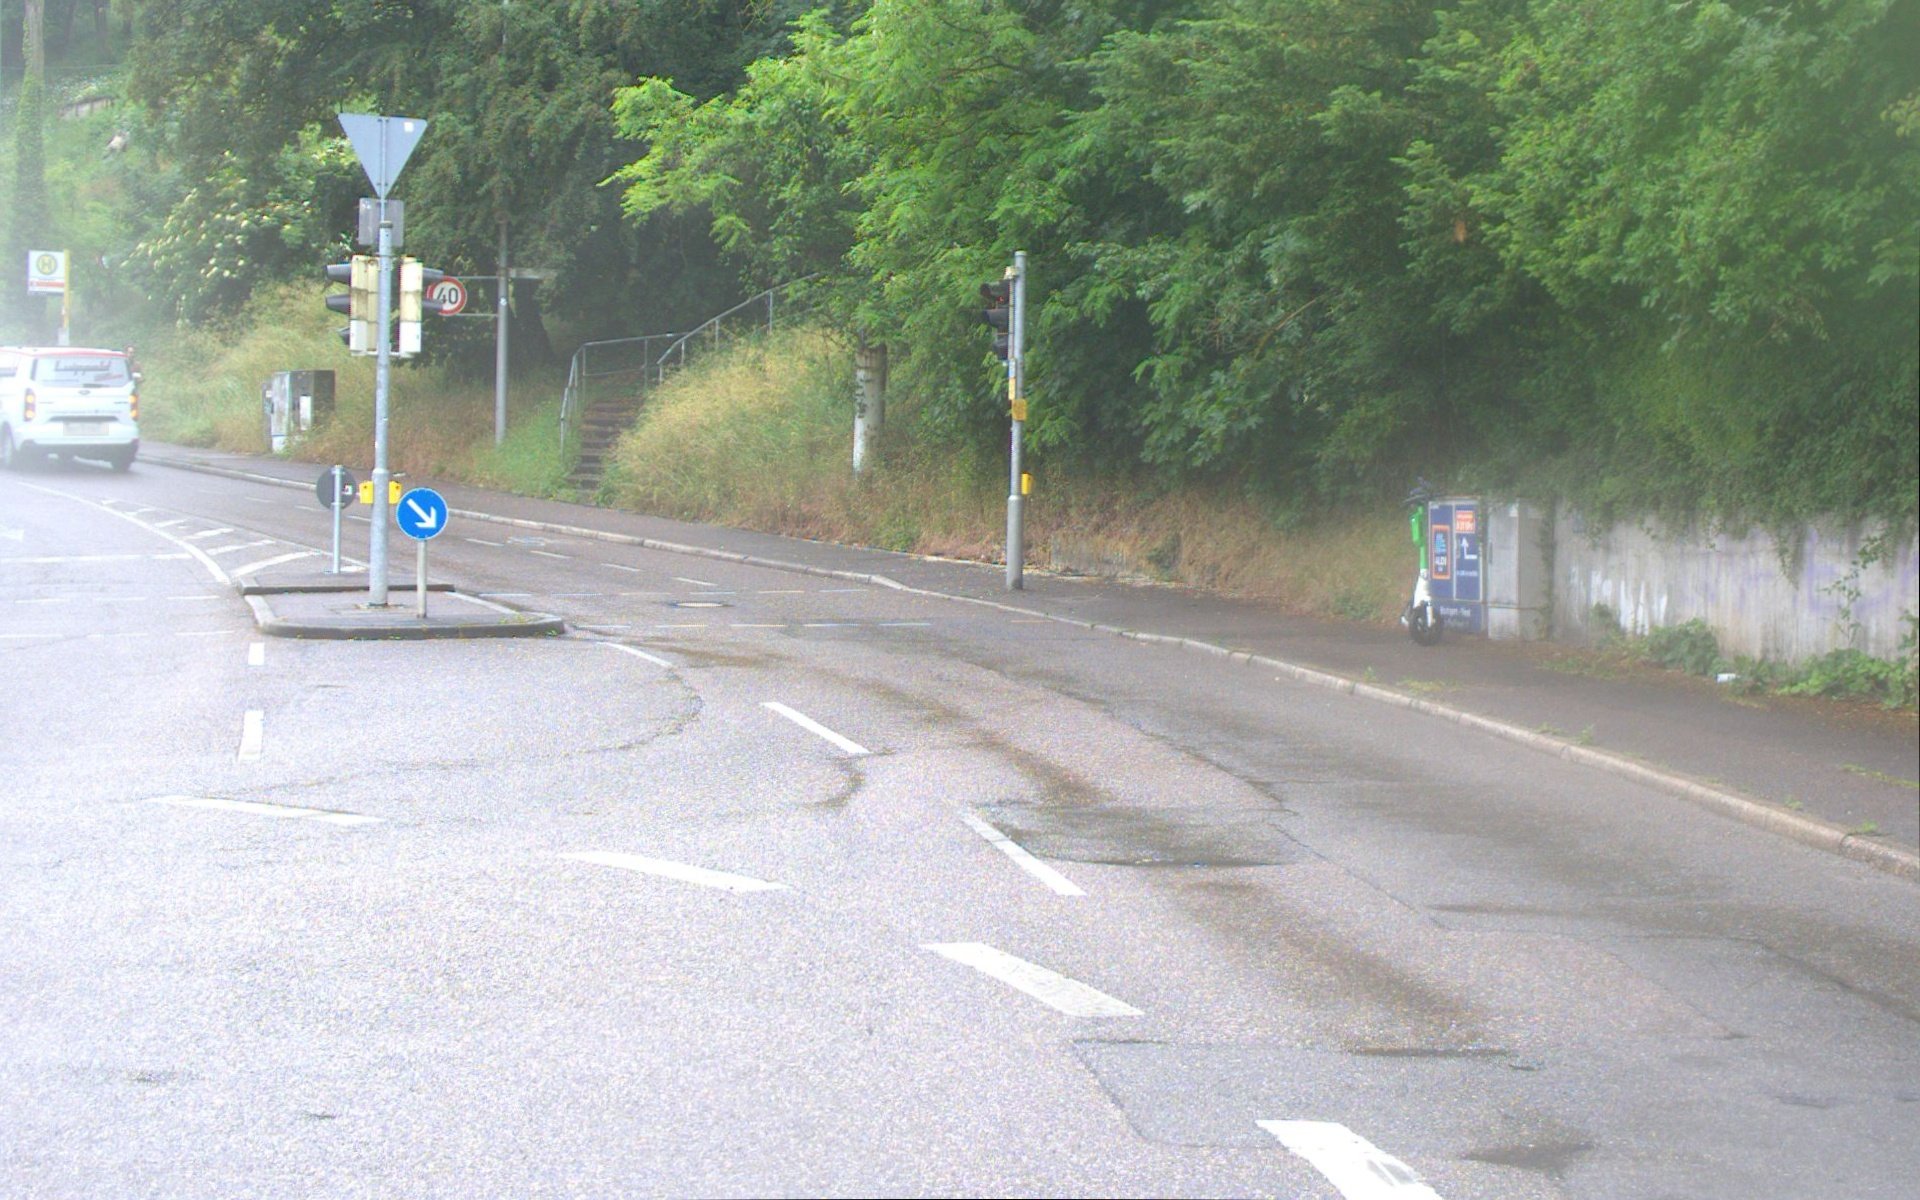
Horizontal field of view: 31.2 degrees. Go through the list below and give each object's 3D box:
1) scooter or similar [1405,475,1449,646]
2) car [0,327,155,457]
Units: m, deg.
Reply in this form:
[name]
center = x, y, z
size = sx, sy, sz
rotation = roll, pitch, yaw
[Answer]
[scooter or similar]
center = 3.589, -0.316, 26.454
size = 0.322, 1.275, 0.751
rotation = 0, 4, 7
[car]
center = -14.857, -3.339, 55.904
size = 2.066, 1.999, 4.815
rotation = 0, 2, -31
